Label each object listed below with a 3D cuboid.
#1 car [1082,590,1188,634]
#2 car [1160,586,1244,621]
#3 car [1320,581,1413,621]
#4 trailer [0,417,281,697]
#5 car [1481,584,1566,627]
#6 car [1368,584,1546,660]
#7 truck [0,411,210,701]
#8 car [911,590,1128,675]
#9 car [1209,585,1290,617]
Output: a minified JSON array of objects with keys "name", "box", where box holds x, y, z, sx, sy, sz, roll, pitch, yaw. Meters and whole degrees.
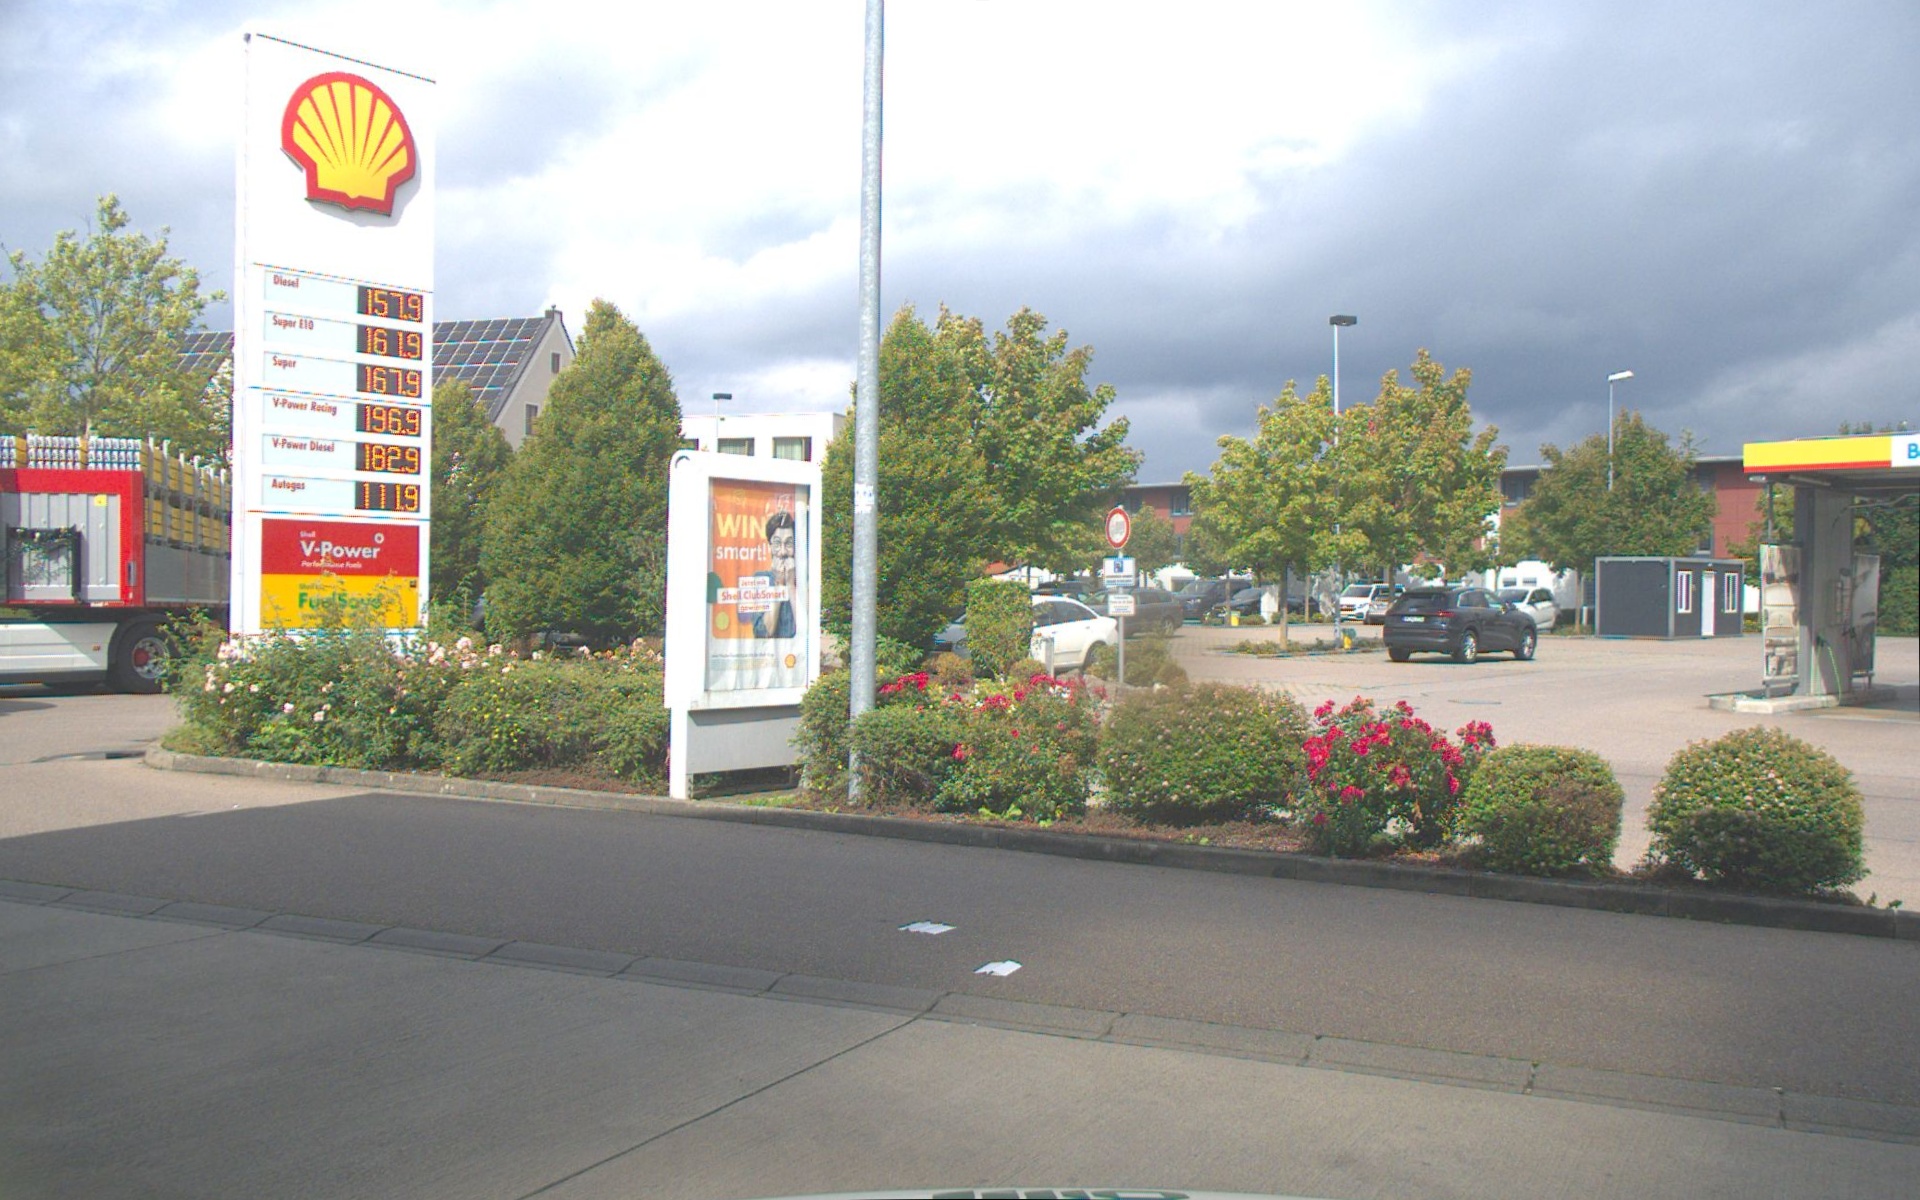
[{"name":"car","box":[5.293,0.371,49.826,3.203,1.249,1.481,1,0,-45]},{"name":"car","box":[9.826,0.150,66.966,3.364,1.343,1.719,1,0,-45]},{"name":"car","box":[19.930,0.042,80.980,4.839,1.865,2.150,1,0,-44]},{"name":"trailer","box":[-14.235,-0.583,28.983,2.685,3.842,12.660,1,0,-15]},{"name":"car","box":[18.022,0.175,52.840,3.080,1.330,1.346,1,-1,-45]},{"name":"car","box":[11.145,0.490,36.927,4.467,1.575,1.856,1,0,-44]},{"name":"truck","box":[-14.030,-0.605,23.125,2.684,3.913,5.902,1,0,33]},{"name":"car","box":[1.147,0.579,29.971,1.348,1.428,4.312,1,-1,45]},{"name":"car","box":[11.427,0.046,65.244,3.393,1.199,1.462,1,0,-45]}]
